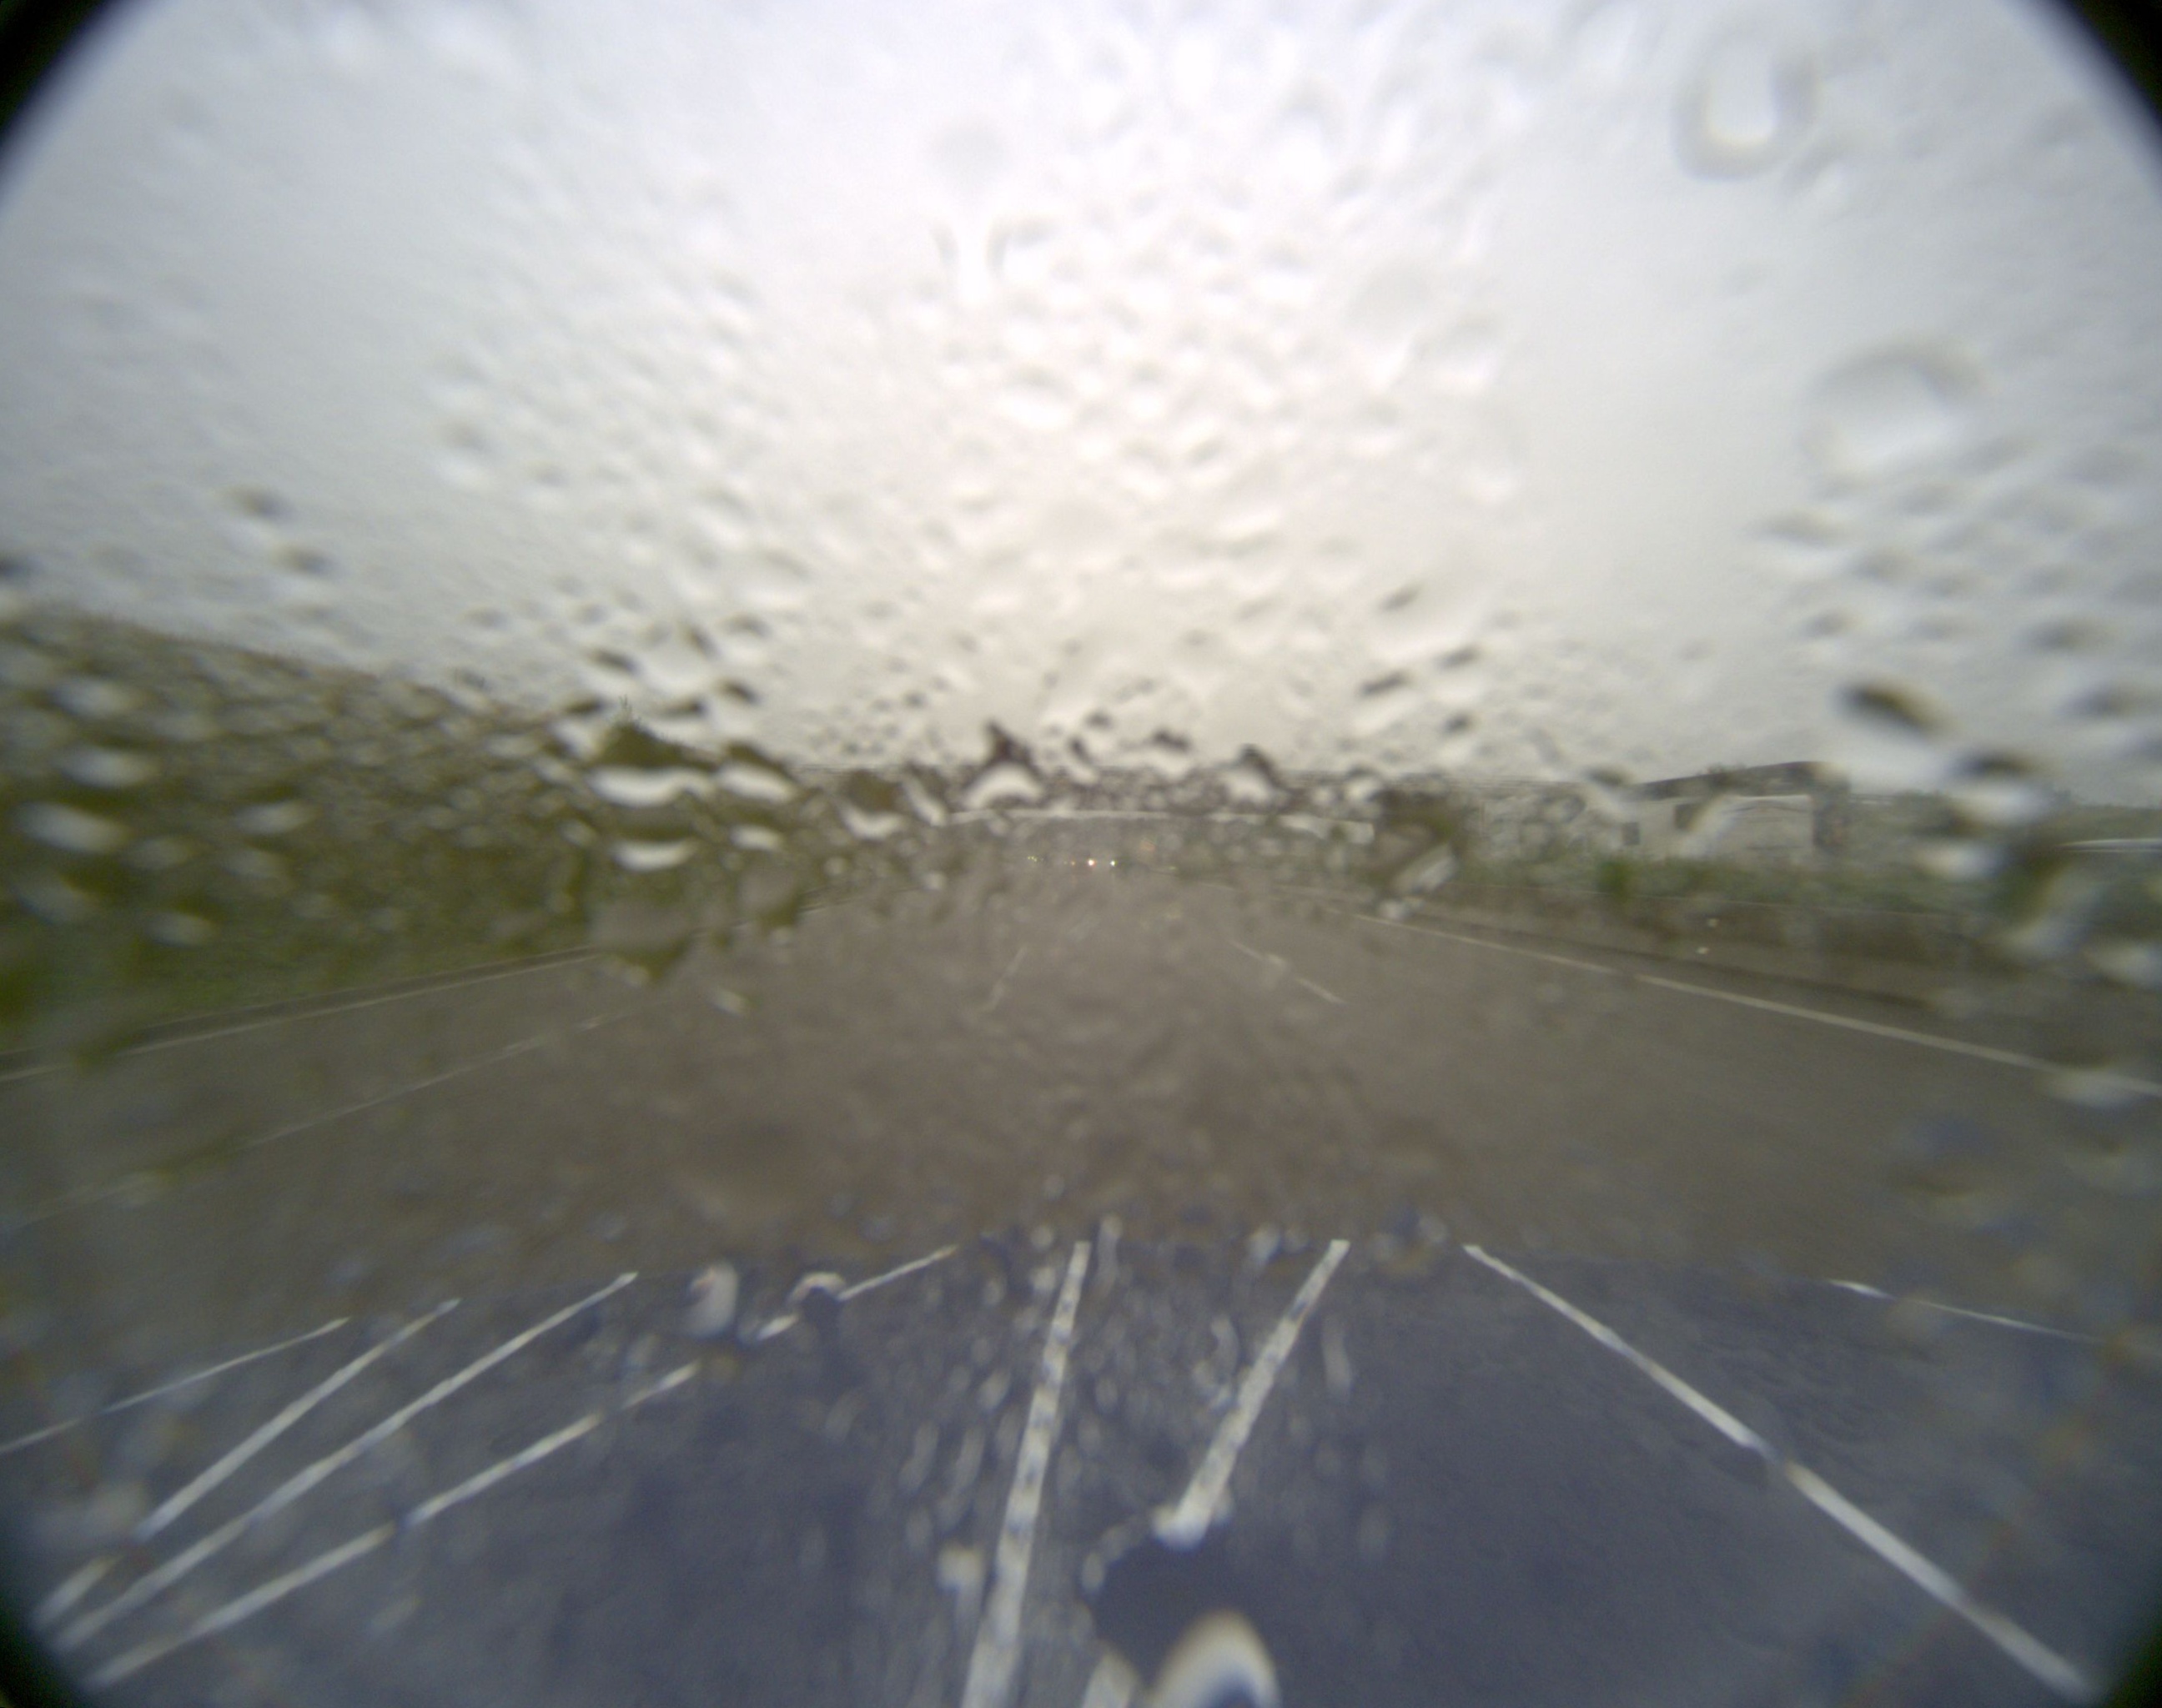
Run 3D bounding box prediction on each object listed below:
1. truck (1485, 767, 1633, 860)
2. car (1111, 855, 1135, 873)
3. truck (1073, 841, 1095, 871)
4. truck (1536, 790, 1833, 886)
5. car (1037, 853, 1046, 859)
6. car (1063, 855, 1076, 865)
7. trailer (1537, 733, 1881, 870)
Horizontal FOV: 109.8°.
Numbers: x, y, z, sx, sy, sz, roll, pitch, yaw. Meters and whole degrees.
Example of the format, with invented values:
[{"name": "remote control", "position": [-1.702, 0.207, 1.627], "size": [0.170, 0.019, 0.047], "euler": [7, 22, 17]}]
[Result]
[{"name": "truck", "position": [20.366, -1.667, 32.800], "size": [2.786, 3.587, 5.738], "euler": [-2, 1, 0]}, {"name": "car", "position": [4.064, 0.976, 74.855], "size": [1.999, 1.608, 3.999], "euler": [-1, 0, -2]}, {"name": "truck", "position": [0.249, 0.148, 75.839], "size": [1.999, 2.699, 7.997], "euler": [-2, 1, -1]}, {"name": "truck", "position": [16.231, -0.458, 21.330], "size": [2.480, 2.143, 7.423], "euler": [-2, 1, 0]}, {"name": "car", "position": [-10.534, 0.485, 202.282], "size": [1.998, 1.543, 4.000], "euler": [-1, 0, 1]}, {"name": "car", "position": [-1.907, 0.946, 125.819], "size": [1.999, 1.521, 3.999], "euler": [-1, 0, -1]}, {"name": "trailer", "position": [20.244, -1.528, 26.015], "size": [2.770, 3.600, 11.147], "euler": [-2, 1, 1]}]
